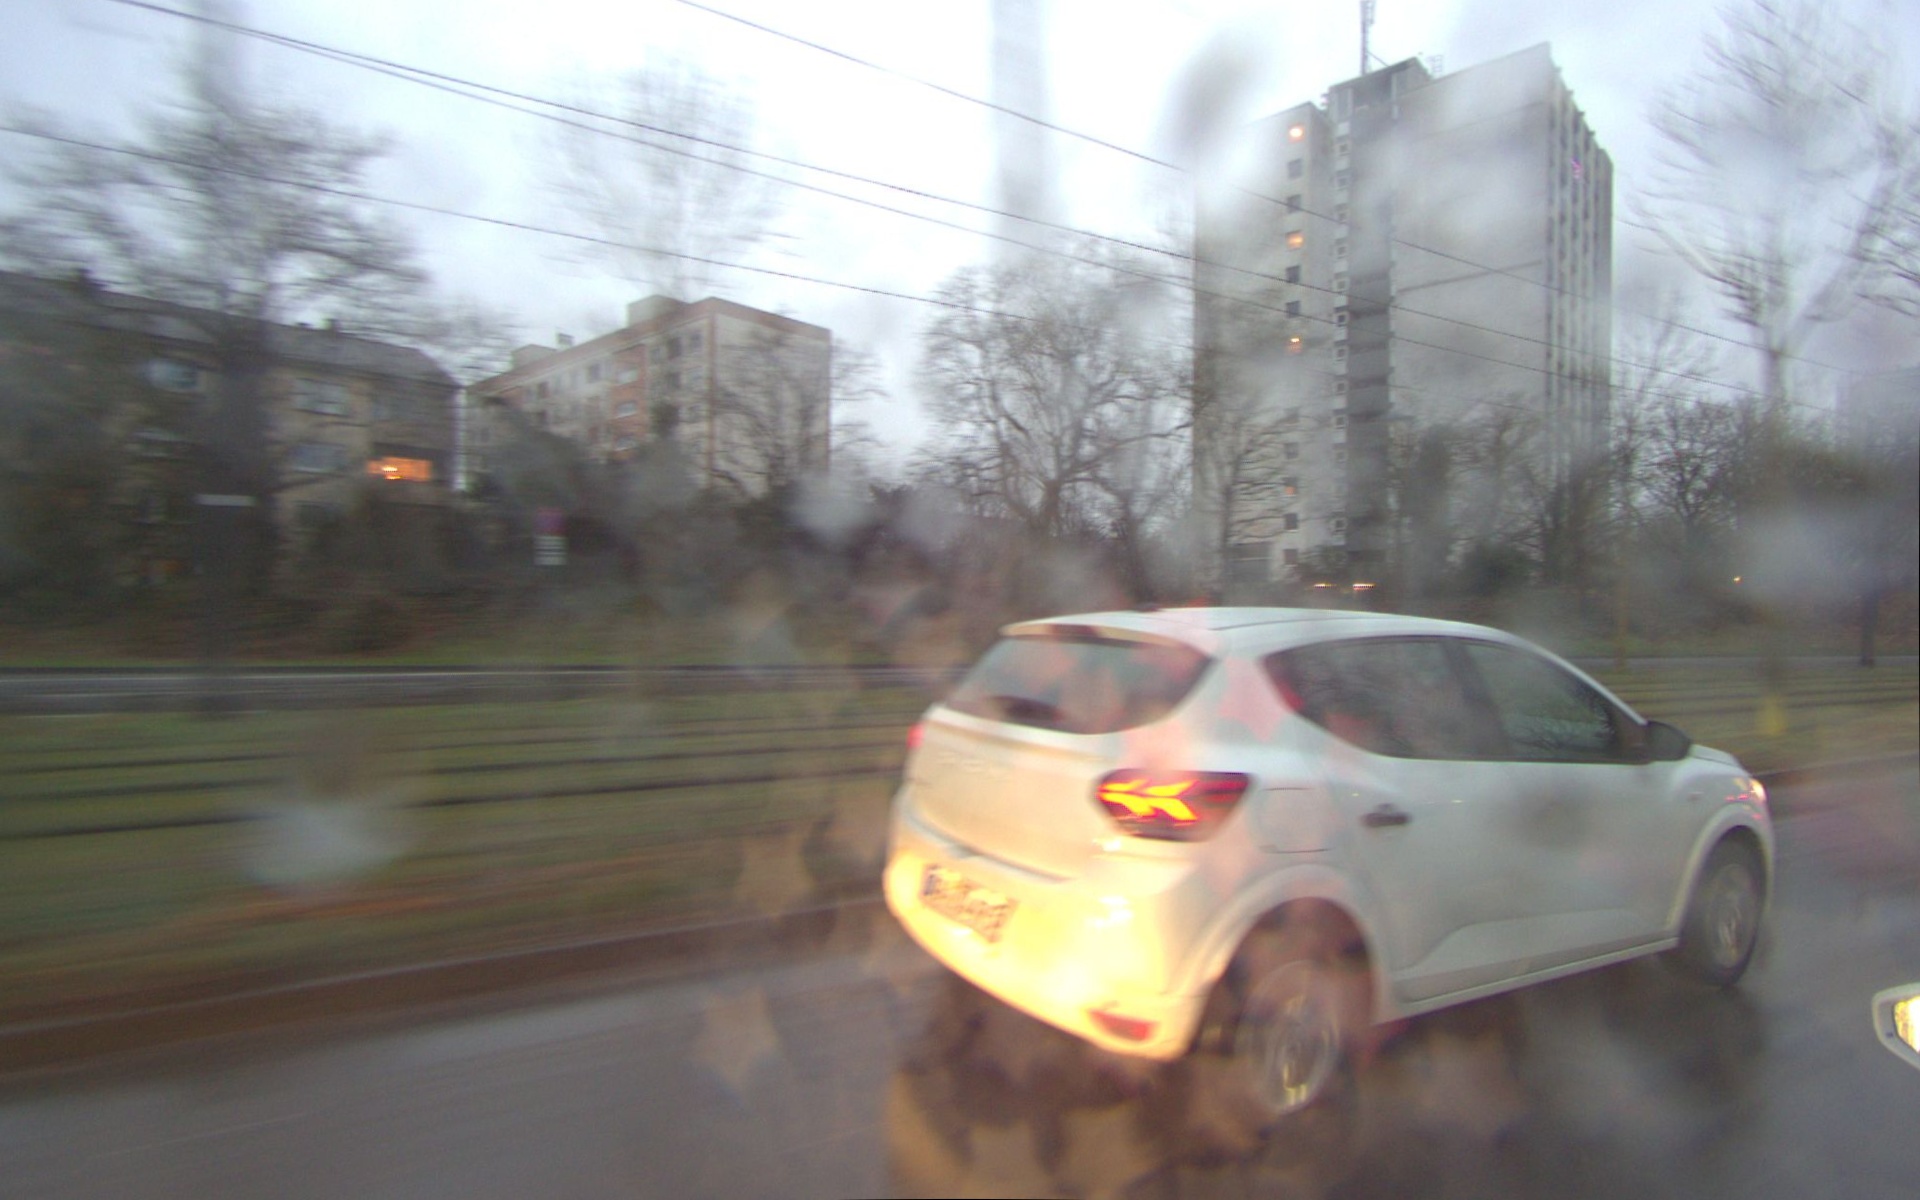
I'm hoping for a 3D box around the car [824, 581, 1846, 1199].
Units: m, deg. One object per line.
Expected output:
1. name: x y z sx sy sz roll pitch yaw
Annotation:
1. car: 1.673 0.768 4.100 4.085 1.545 1.701 1 -1 -30
